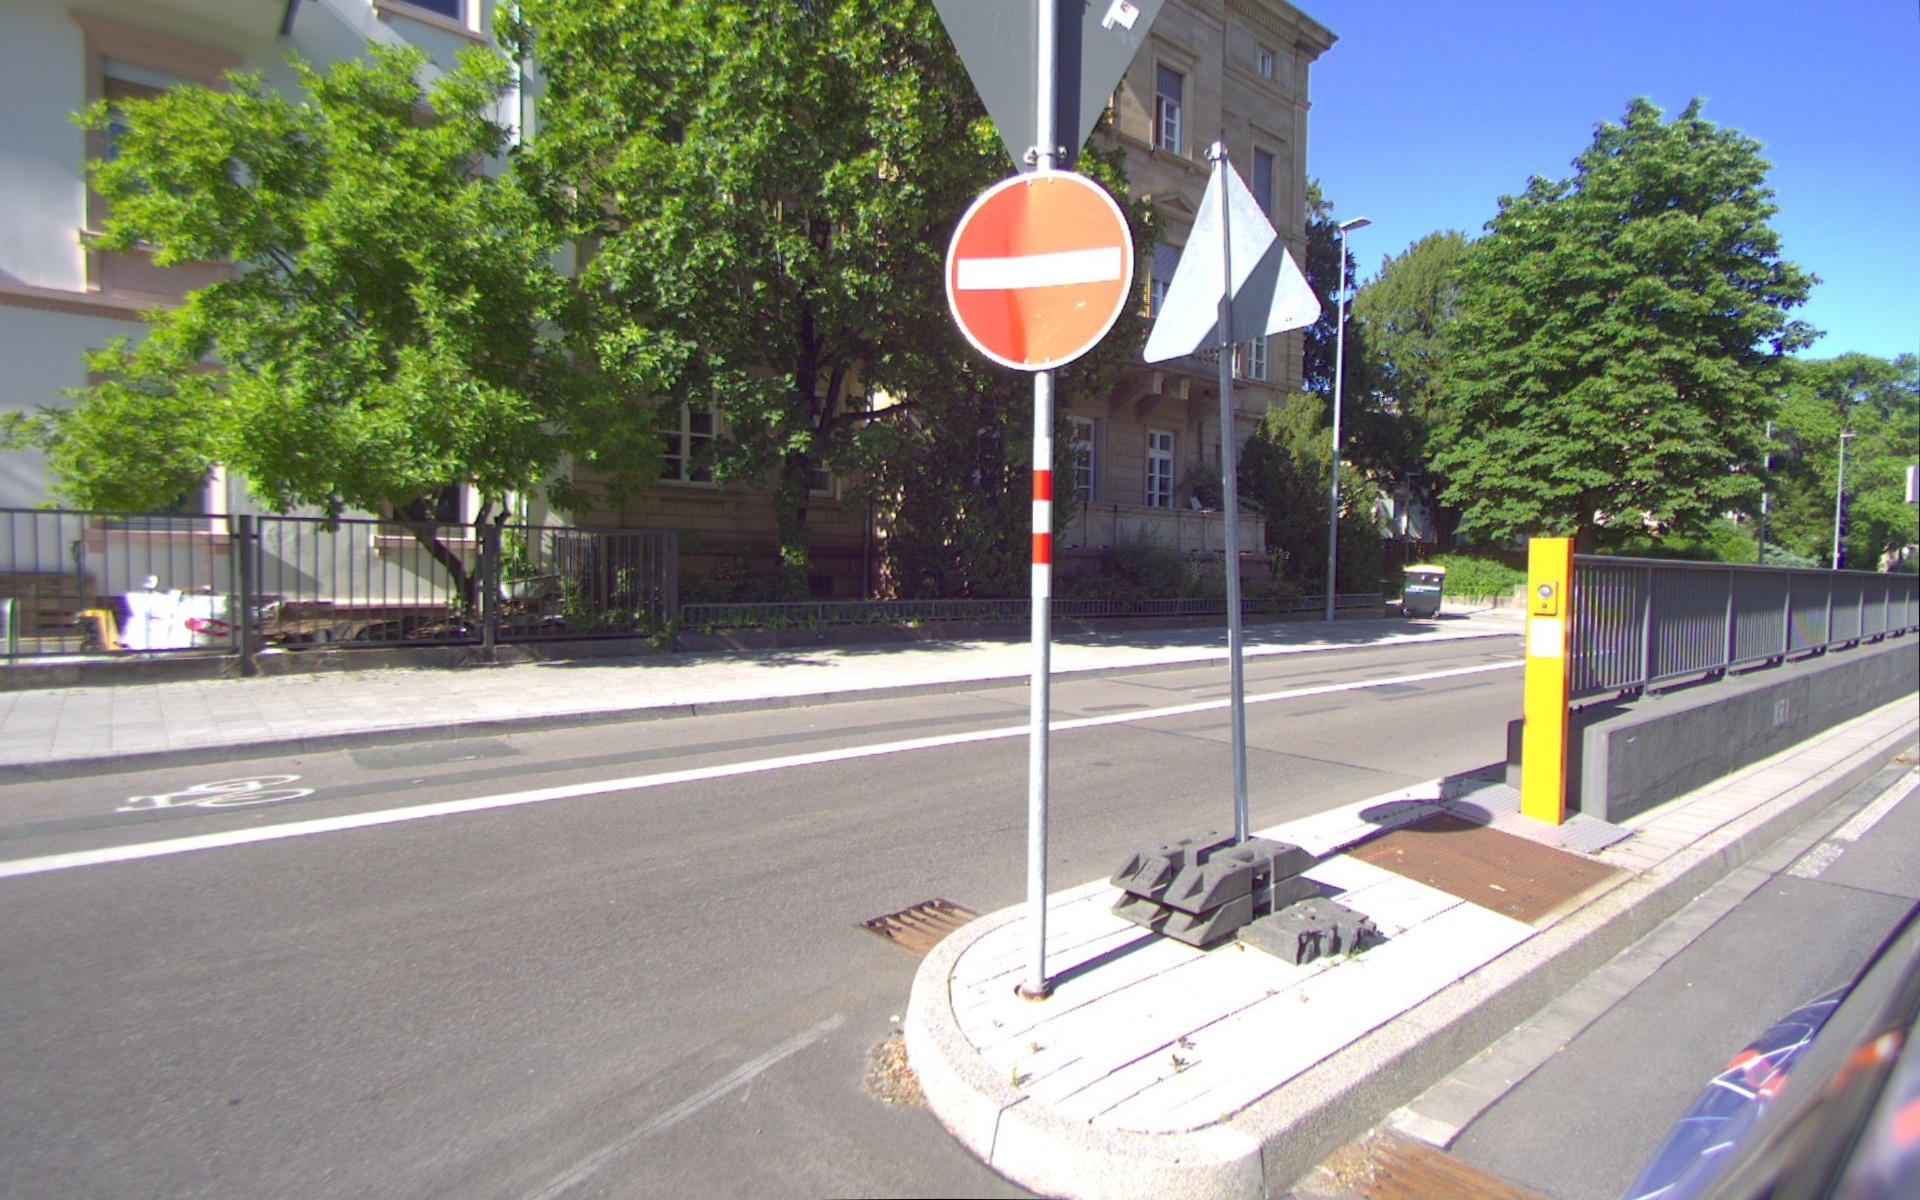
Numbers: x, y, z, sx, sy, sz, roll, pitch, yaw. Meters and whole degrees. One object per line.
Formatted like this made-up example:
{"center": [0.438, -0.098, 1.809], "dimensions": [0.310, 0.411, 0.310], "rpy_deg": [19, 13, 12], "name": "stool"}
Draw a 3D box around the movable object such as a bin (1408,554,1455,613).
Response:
{"center": [11.918, -0.429, 25.556], "dimensions": [0.964, 1.415, 1.276], "rpy_deg": [3, 2, 27], "name": "movable object such as a bin"}
